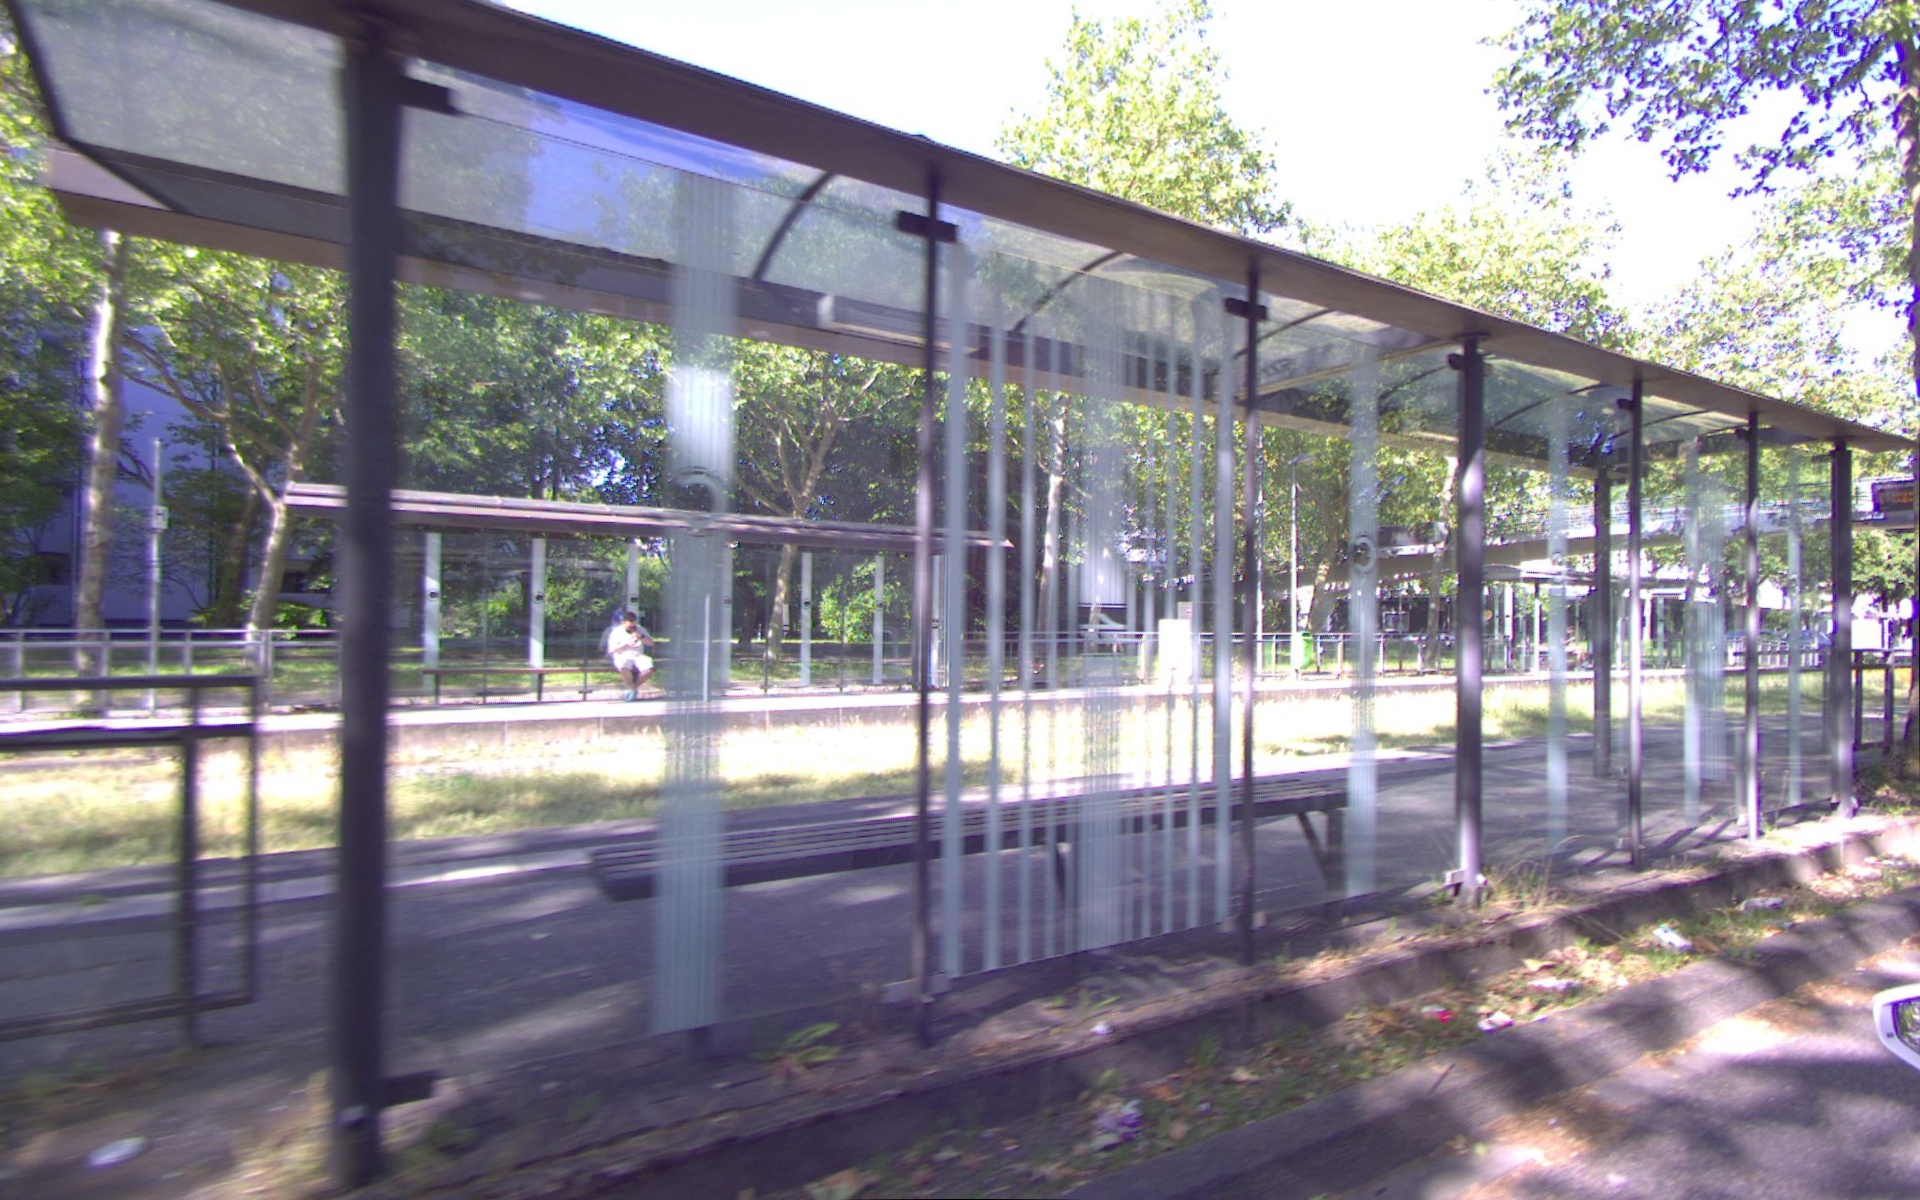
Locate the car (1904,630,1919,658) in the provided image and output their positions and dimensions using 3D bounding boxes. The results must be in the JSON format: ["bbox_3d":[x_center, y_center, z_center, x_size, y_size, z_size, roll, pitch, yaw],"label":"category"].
[{"bbox_3d":[56.602,2.549,58.148,4.239,1.601,1.785,1,-1,-31],"label":"car"}]

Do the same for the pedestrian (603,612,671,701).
[{"bbox_3d":[-4.544,0.769,14.104,0.754,1.199,0.762,1,-1,-31],"label":"pedestrian"}]

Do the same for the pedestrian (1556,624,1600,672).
[{"bbox_3d":[16.667,1.275,27.095,0.714,1.254,0.773,1,-1,-32],"label":"pedestrian"}]

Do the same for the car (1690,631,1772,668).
[{"bbox_3d":[34.953,2.201,45.507,4.245,1.587,1.782,1,-1,-35],"label":"car"}]

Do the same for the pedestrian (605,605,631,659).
[{"bbox_3d":[-10.712,0.995,31.443,0.642,1.683,0.645,1,-1,-30],"label":"pedestrian"}]

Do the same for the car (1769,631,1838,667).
[{"bbox_3d":[40.316,2.296,48.103,1.768,1.587,4.281,0,-1,29],"label":"car"}]
